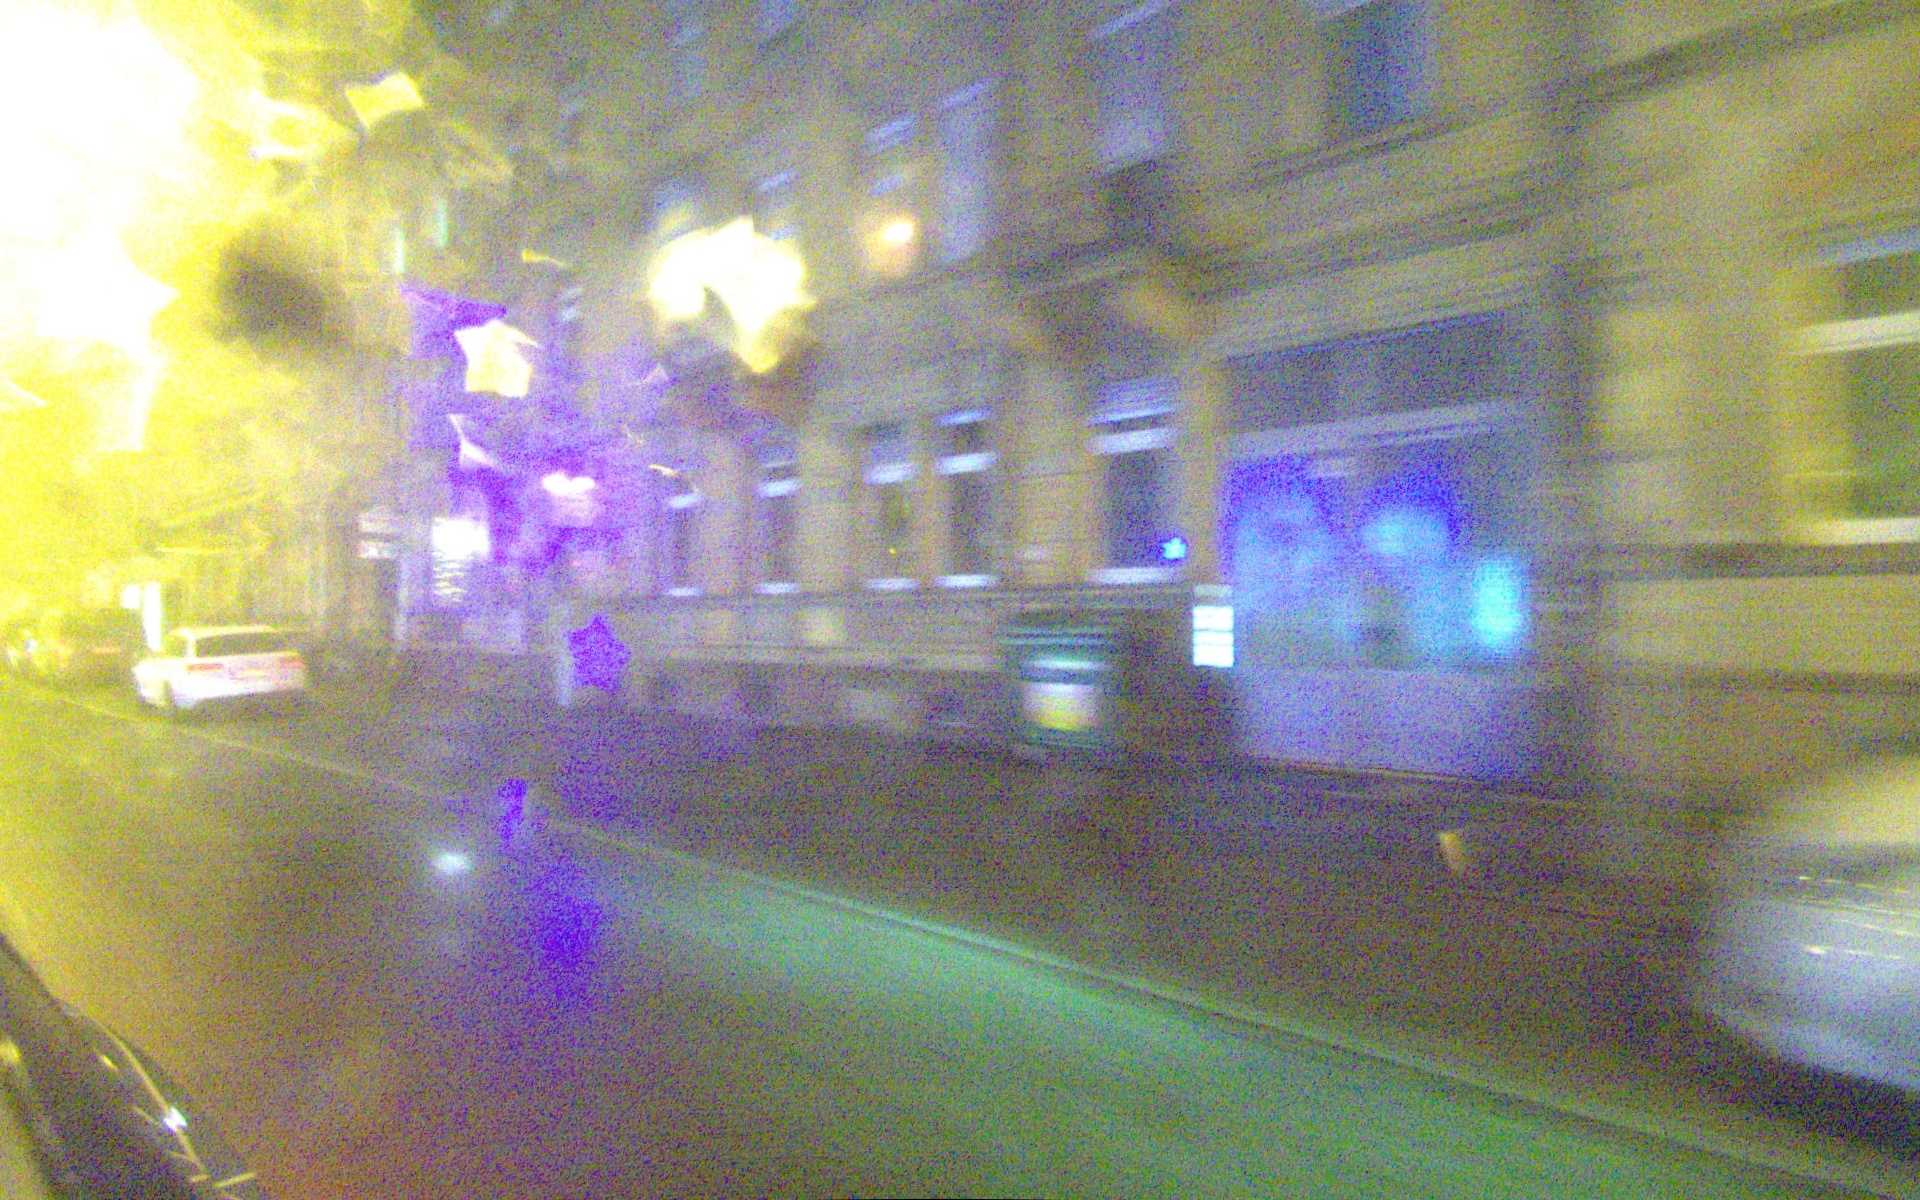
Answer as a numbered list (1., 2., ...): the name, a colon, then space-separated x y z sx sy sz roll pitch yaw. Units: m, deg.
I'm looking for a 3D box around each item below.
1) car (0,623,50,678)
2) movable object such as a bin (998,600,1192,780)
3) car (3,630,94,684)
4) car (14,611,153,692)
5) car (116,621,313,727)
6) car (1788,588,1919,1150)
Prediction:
1. car: -33.529 1.747 35.478 4.827 1.843 1.882 -2 -2 42
2. movable object such as a bin: 1.218 0.768 9.150 1.377 1.465 1.090 -2 -3 39
3. car: -26.616 1.627 29.511 3.718 1.471 1.552 -2 -2 42
4. car: -22.228 1.266 25.582 5.204 1.843 1.975 -2 -2 42
5. car: -12.898 1.185 17.390 4.770 1.494 1.749 -2 1 42
6. car: 4.310 0.680 2.282 3.719 1.502 1.654 -2 -1 41
